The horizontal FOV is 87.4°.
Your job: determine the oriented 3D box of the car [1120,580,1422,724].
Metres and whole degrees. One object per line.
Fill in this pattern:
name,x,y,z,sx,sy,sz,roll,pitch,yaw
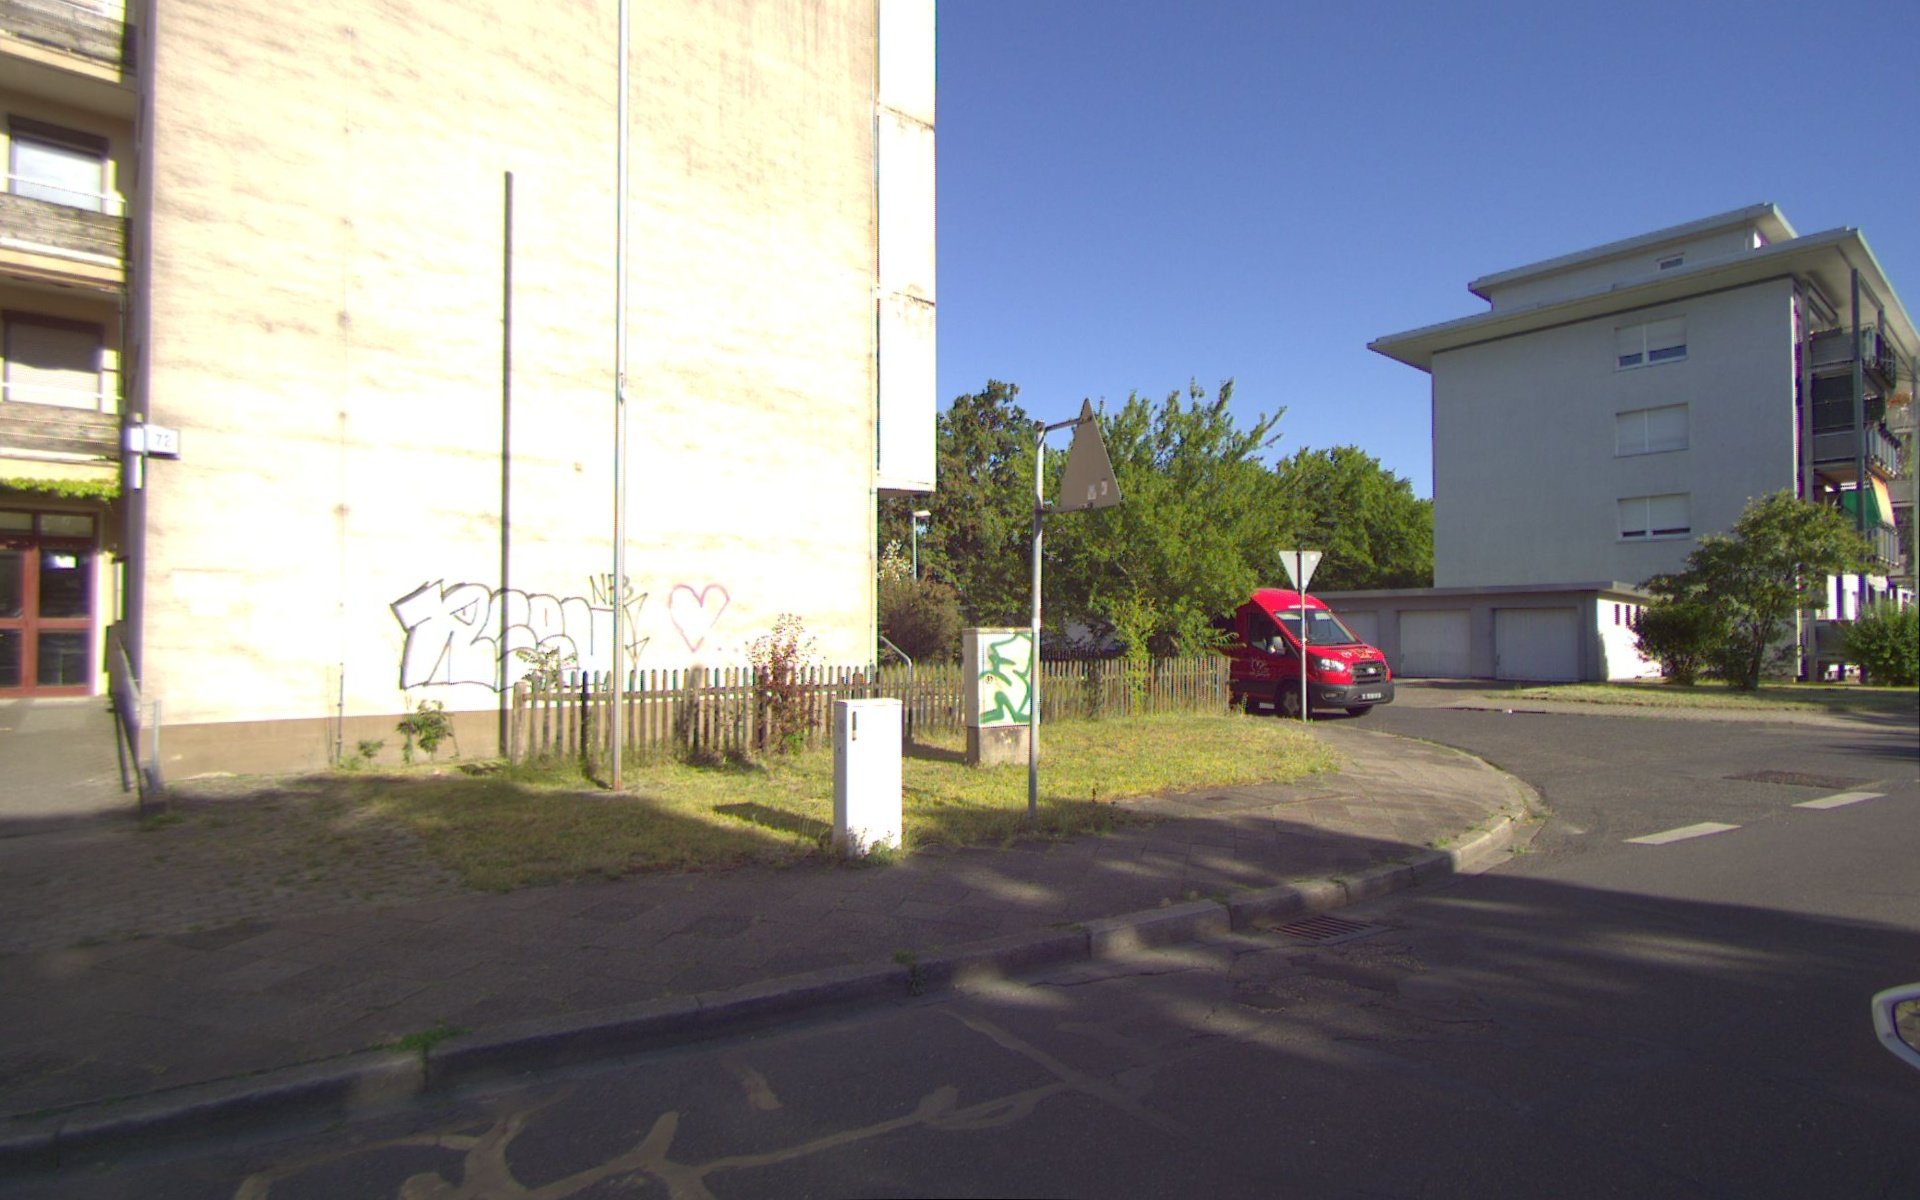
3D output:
car,5.988,1.017,20.321,2.187,2.460,5.879,-1,-2,-30

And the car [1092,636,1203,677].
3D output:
car,6.761,2.000,36.026,4.001,1.406,1.825,2,-4,-41
